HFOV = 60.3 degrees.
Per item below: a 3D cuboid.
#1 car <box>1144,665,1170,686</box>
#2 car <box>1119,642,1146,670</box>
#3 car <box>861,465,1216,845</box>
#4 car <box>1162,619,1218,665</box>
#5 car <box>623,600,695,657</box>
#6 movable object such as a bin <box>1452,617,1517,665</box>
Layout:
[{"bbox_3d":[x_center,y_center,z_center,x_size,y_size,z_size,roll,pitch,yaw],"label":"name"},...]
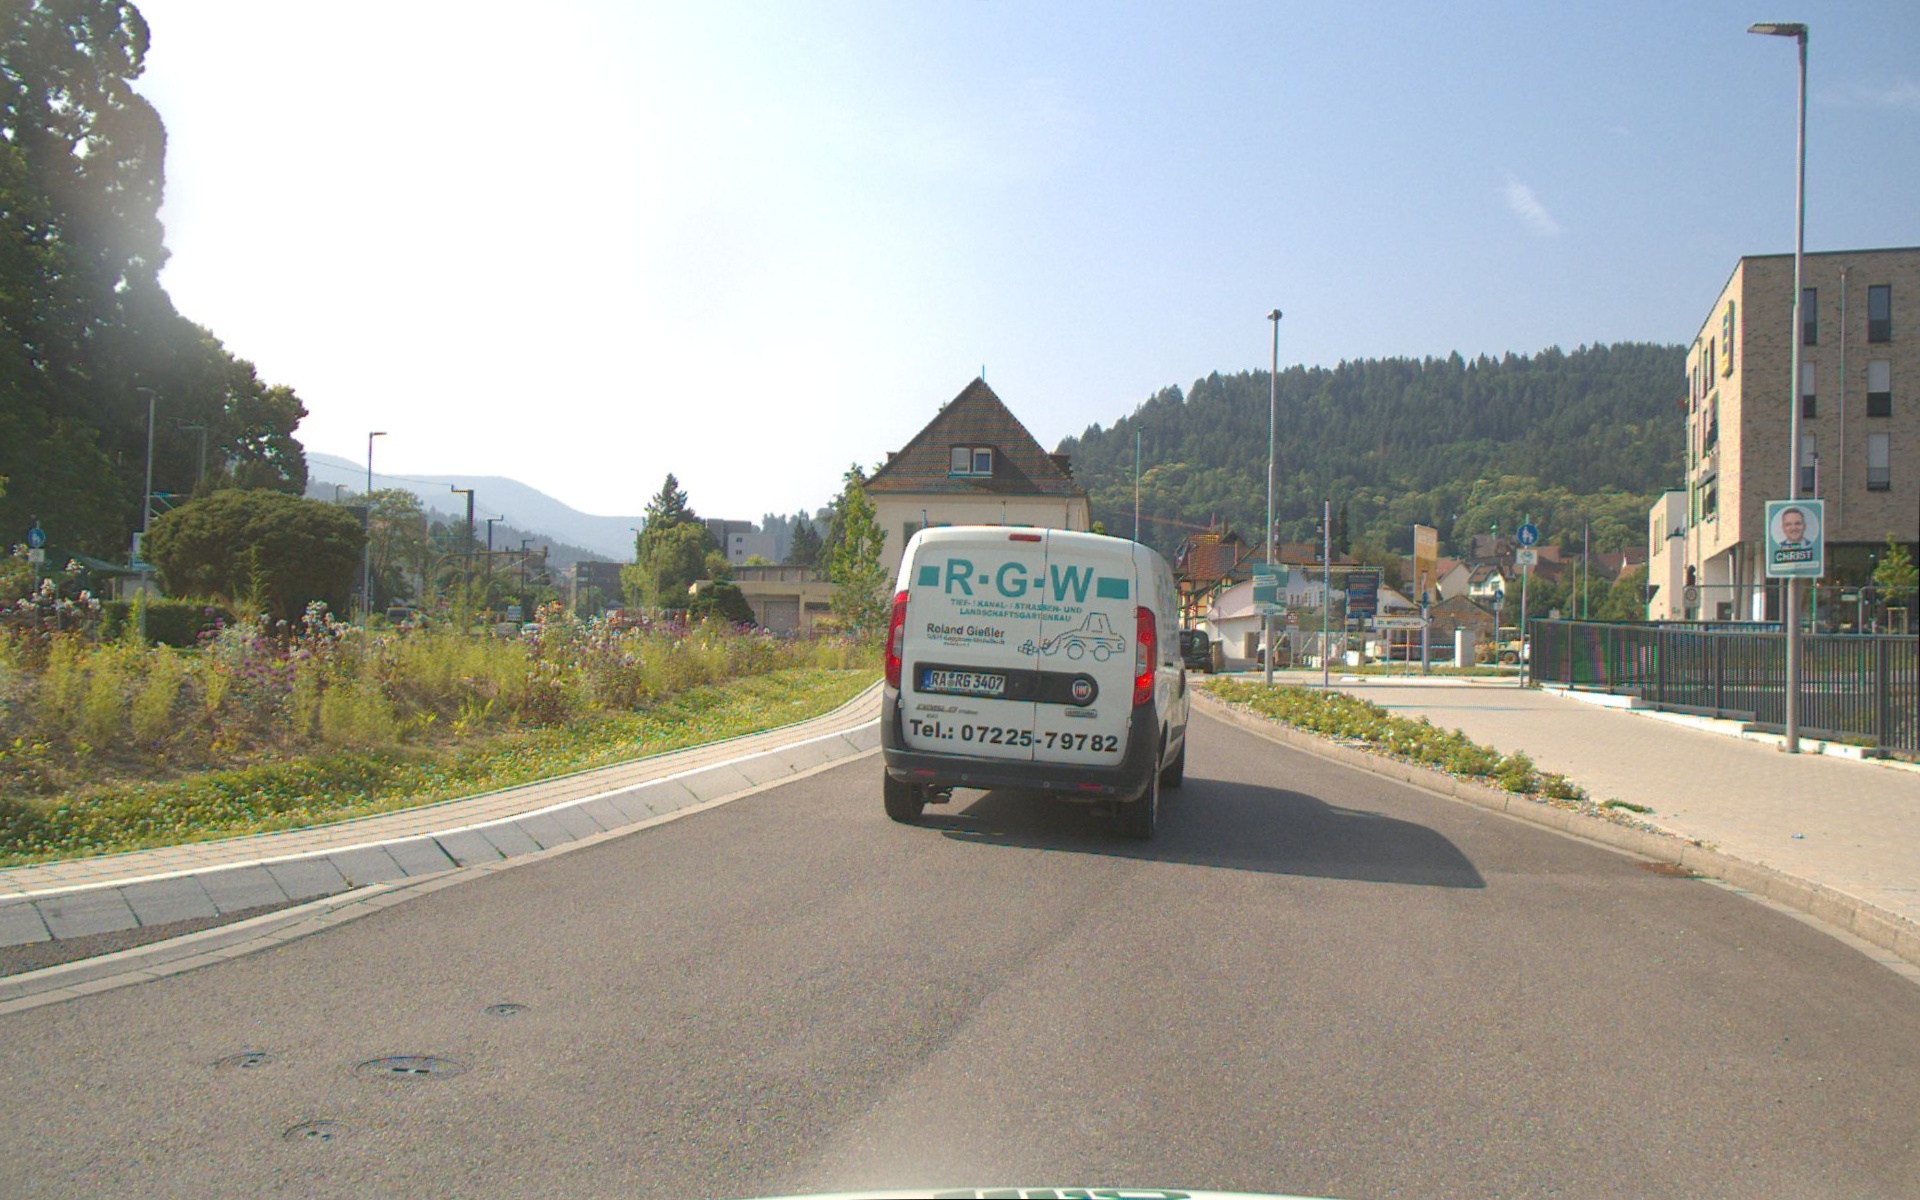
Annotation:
[{"bbox_3d":[10.313,3.950,86.700,1.278,1.021,3.092,1,-2,6],"label":"car"},{"bbox_3d":[12.912,4.195,123.438,1.951,2.049,4.002,1,-2,7],"label":"car"},{"bbox_3d":[0.788,0.330,11.928,1.768,2.114,4.608,3,0,11],"label":"car"},{"bbox_3d":[8.885,1.637,63.580,1.841,1.713,4.003,0,-2,12],"label":"car"},{"bbox_3d":[-11.269,1.043,62.229,1.772,2.049,4.001,1,-1,3],"label":"car"},{"bbox_3d":[21.060,1.641,66.478,2.391,1.876,1.429,0,-2,14],"label":"movable object such as a bin"}]
